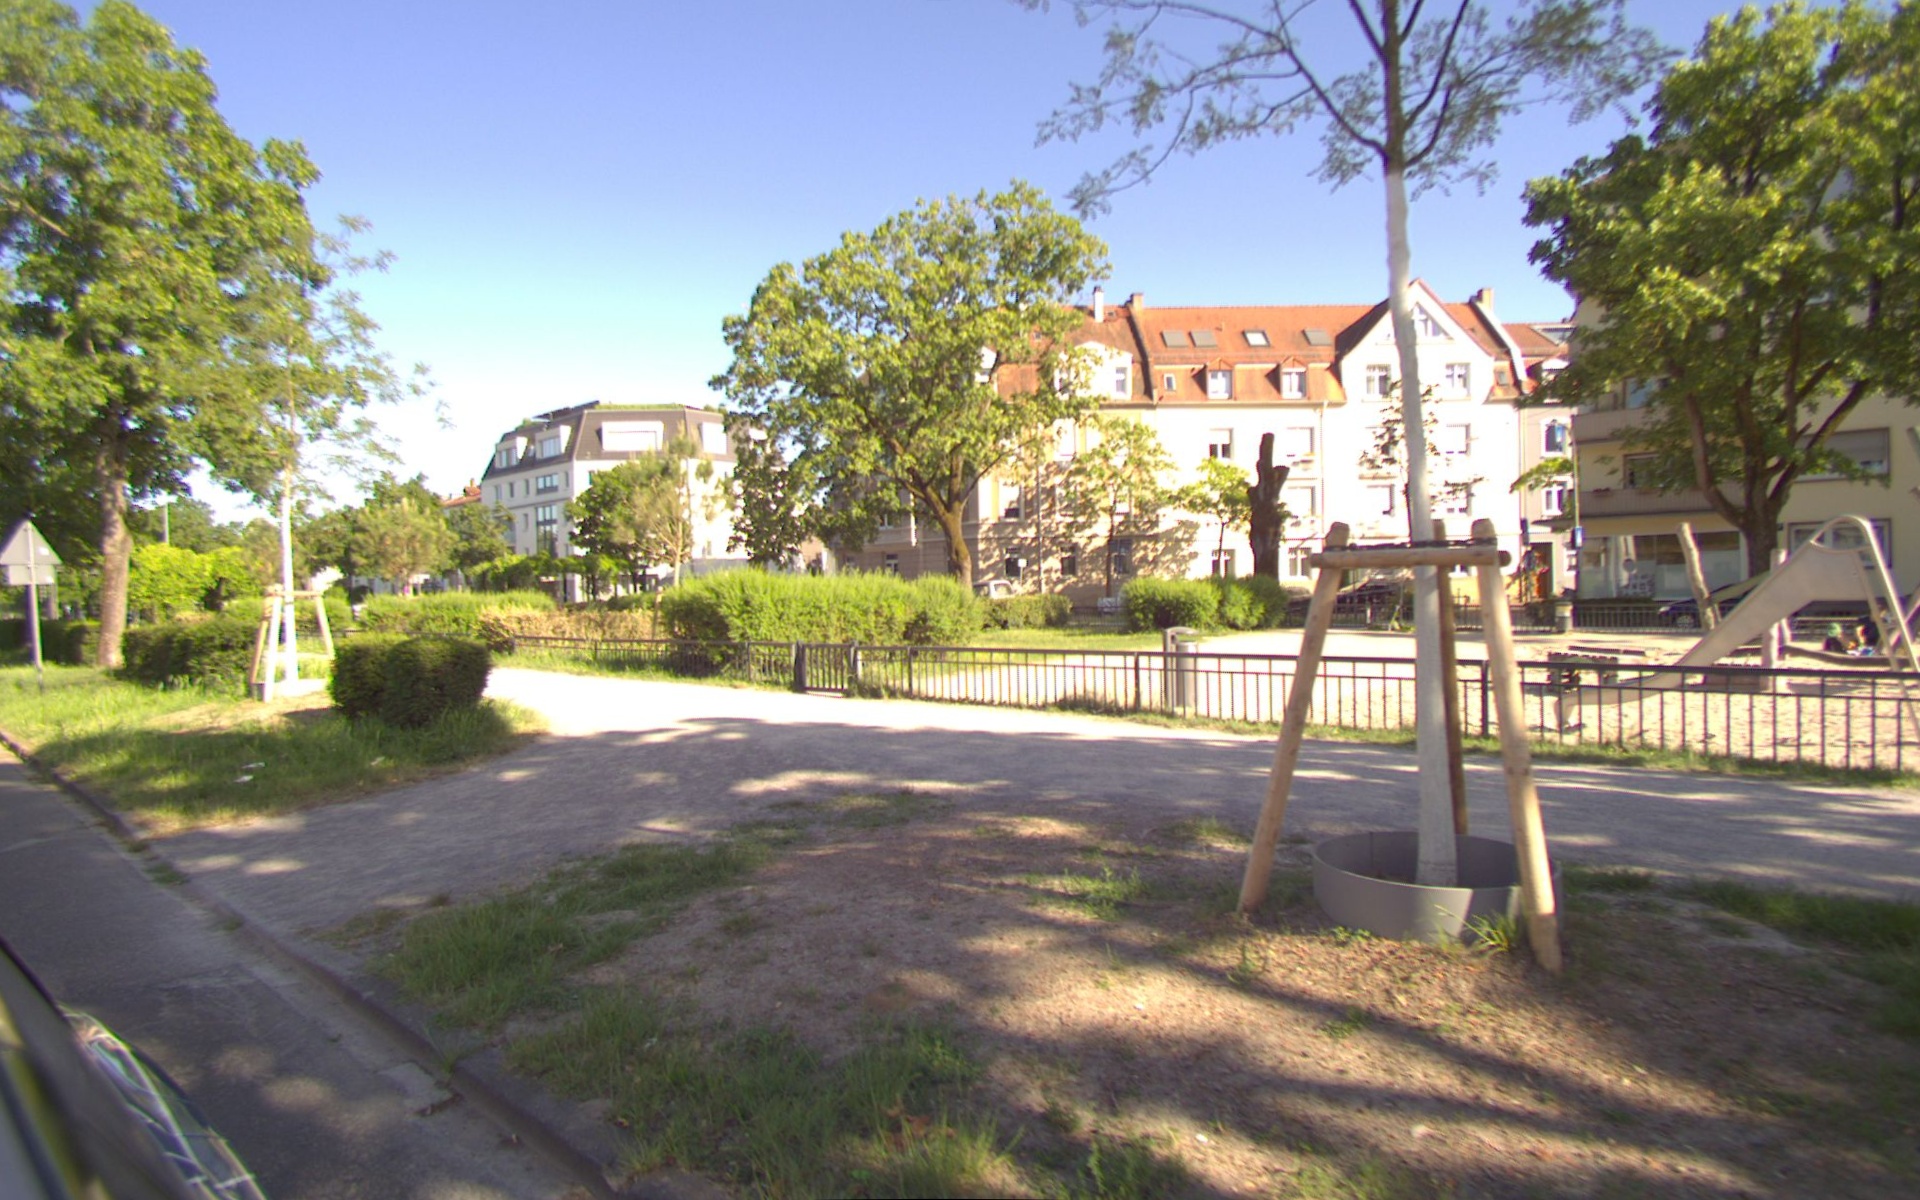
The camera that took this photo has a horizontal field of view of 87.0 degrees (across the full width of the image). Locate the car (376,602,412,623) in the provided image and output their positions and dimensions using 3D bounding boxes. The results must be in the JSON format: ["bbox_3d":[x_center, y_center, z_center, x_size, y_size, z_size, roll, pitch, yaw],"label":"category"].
[{"bbox_3d":[-56.765,1.288,101.471,4.406,2.044,1.915,-1,-1,43],"label":"car"}]

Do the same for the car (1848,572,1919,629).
[{"bbox_3d":[27.200,-0.016,27.329,4.761,1.521,1.887,-2,0,41],"label":"car"}]

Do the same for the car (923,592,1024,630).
[{"bbox_3d":[0.587,0.521,46.762,4.586,1.647,1.775,-2,0,42],"label":"car"}]

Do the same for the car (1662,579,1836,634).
[{"bbox_3d":[23.549,0.218,30.283,3.999,1.521,1.775,-2,0,42],"label":"car"}]

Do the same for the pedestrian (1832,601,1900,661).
[{"bbox_3d":[15.397,0.516,17.209,0.535,0.986,0.779,-2,0,-41],"label":"pedestrian"}]

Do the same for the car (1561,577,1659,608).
[{"bbox_3d":[34.186,-0.372,53.275,3.944,1.522,1.800,-1,-1,0],"label":"car"}]
